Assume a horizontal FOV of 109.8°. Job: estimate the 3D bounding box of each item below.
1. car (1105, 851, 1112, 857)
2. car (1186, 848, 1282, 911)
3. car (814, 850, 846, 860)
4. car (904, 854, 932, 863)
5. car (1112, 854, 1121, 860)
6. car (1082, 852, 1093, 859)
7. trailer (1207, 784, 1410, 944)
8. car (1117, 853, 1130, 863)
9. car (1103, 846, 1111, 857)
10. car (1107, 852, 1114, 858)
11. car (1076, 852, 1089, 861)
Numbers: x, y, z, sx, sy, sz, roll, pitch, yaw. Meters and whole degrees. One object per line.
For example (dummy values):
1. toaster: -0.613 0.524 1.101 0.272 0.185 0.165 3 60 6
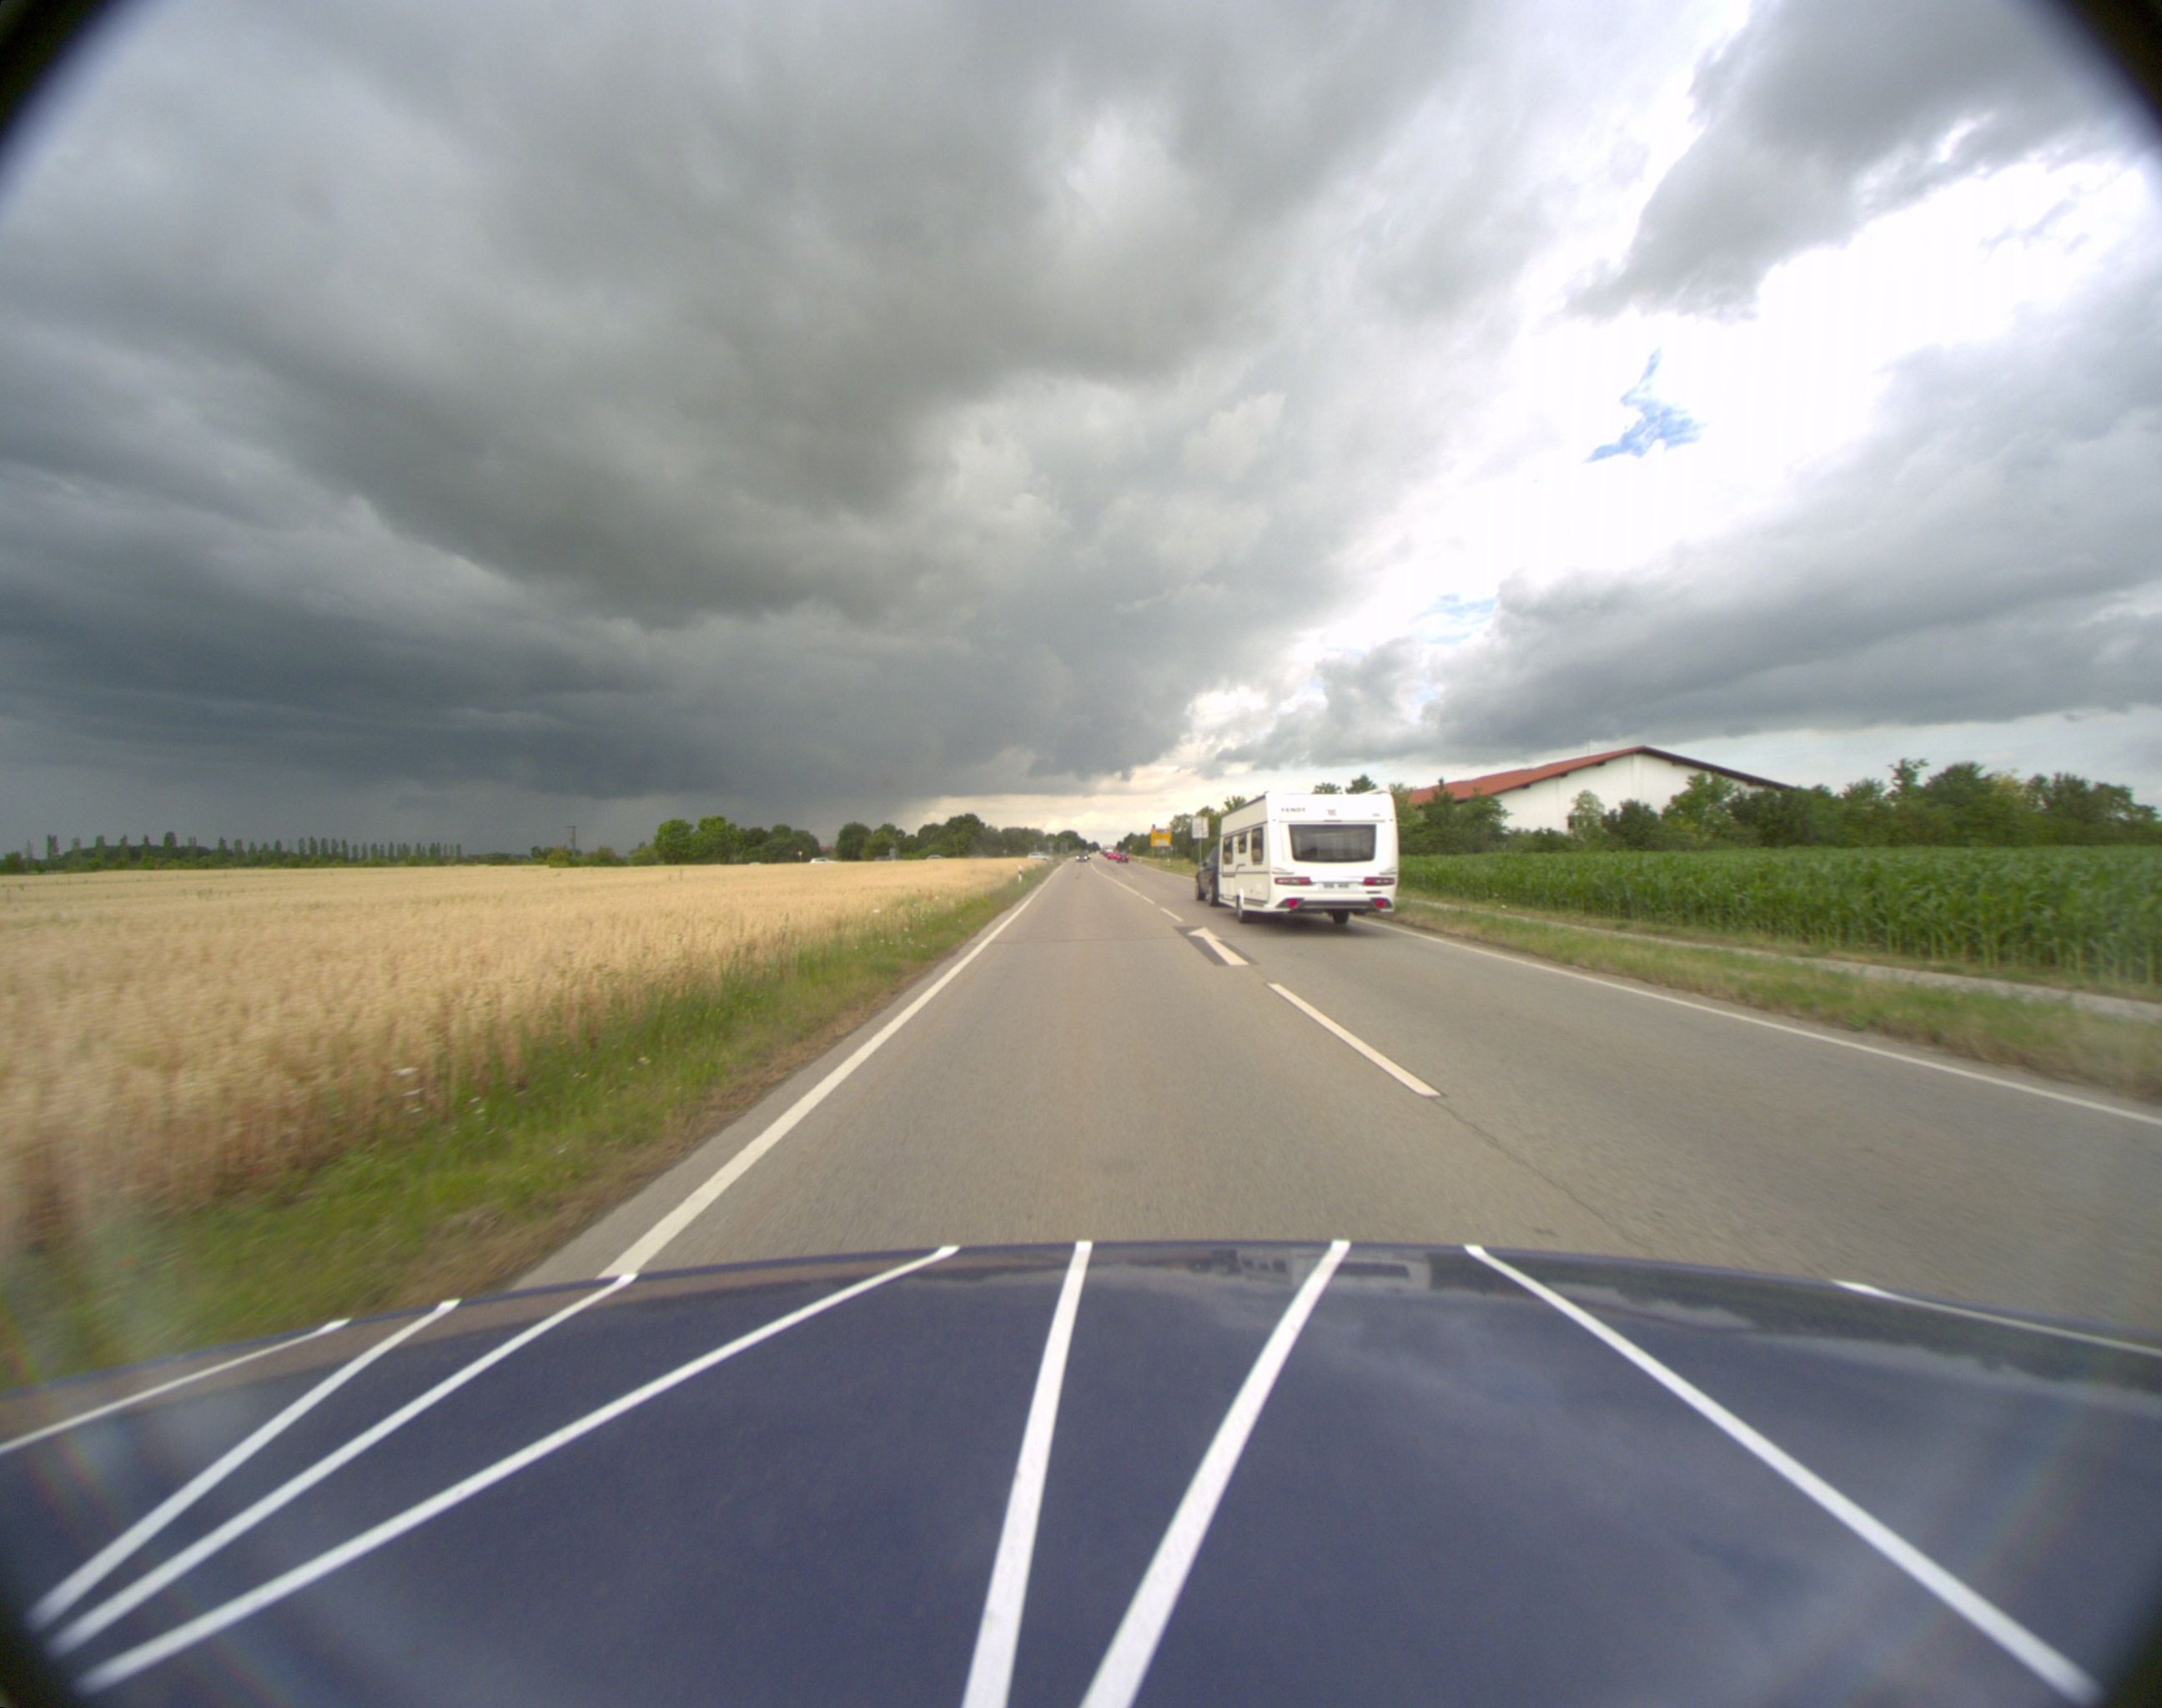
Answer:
1. car: 7.756 0.078 214.608 1.999 1.614 4.261 2 0 -1
2. car: 4.481 0.687 23.013 1.998 1.689 4.675 0 0 1
3. car: -41.344 0.173 125.130 4.633 1.486 1.722 -1 2 5
4. car: -26.548 0.759 123.968 4.209 1.345 1.723 0 0 5
5. car: 7.218 0.553 154.746 1.775 1.233 4.211 0 0 1
6. car: 1.251 0.278 147.157 1.998 1.474 4.000 0 0 1
7. trailer: 4.516 0.162 16.843 2.330 2.713 7.843 0 0 1
8. car: 6.662 0.599 119.367 1.673 1.421 4.302 1 0 0
9. car: 7.707 -0.672 225.984 2.339 3.011 6.558 2 0 1
10. car: 7.533 0.199 196.121 1.676 1.393 4.089 1 0 1
11. car: 0.297 0.423 123.552 1.998 1.474 4.000 0 0 1
